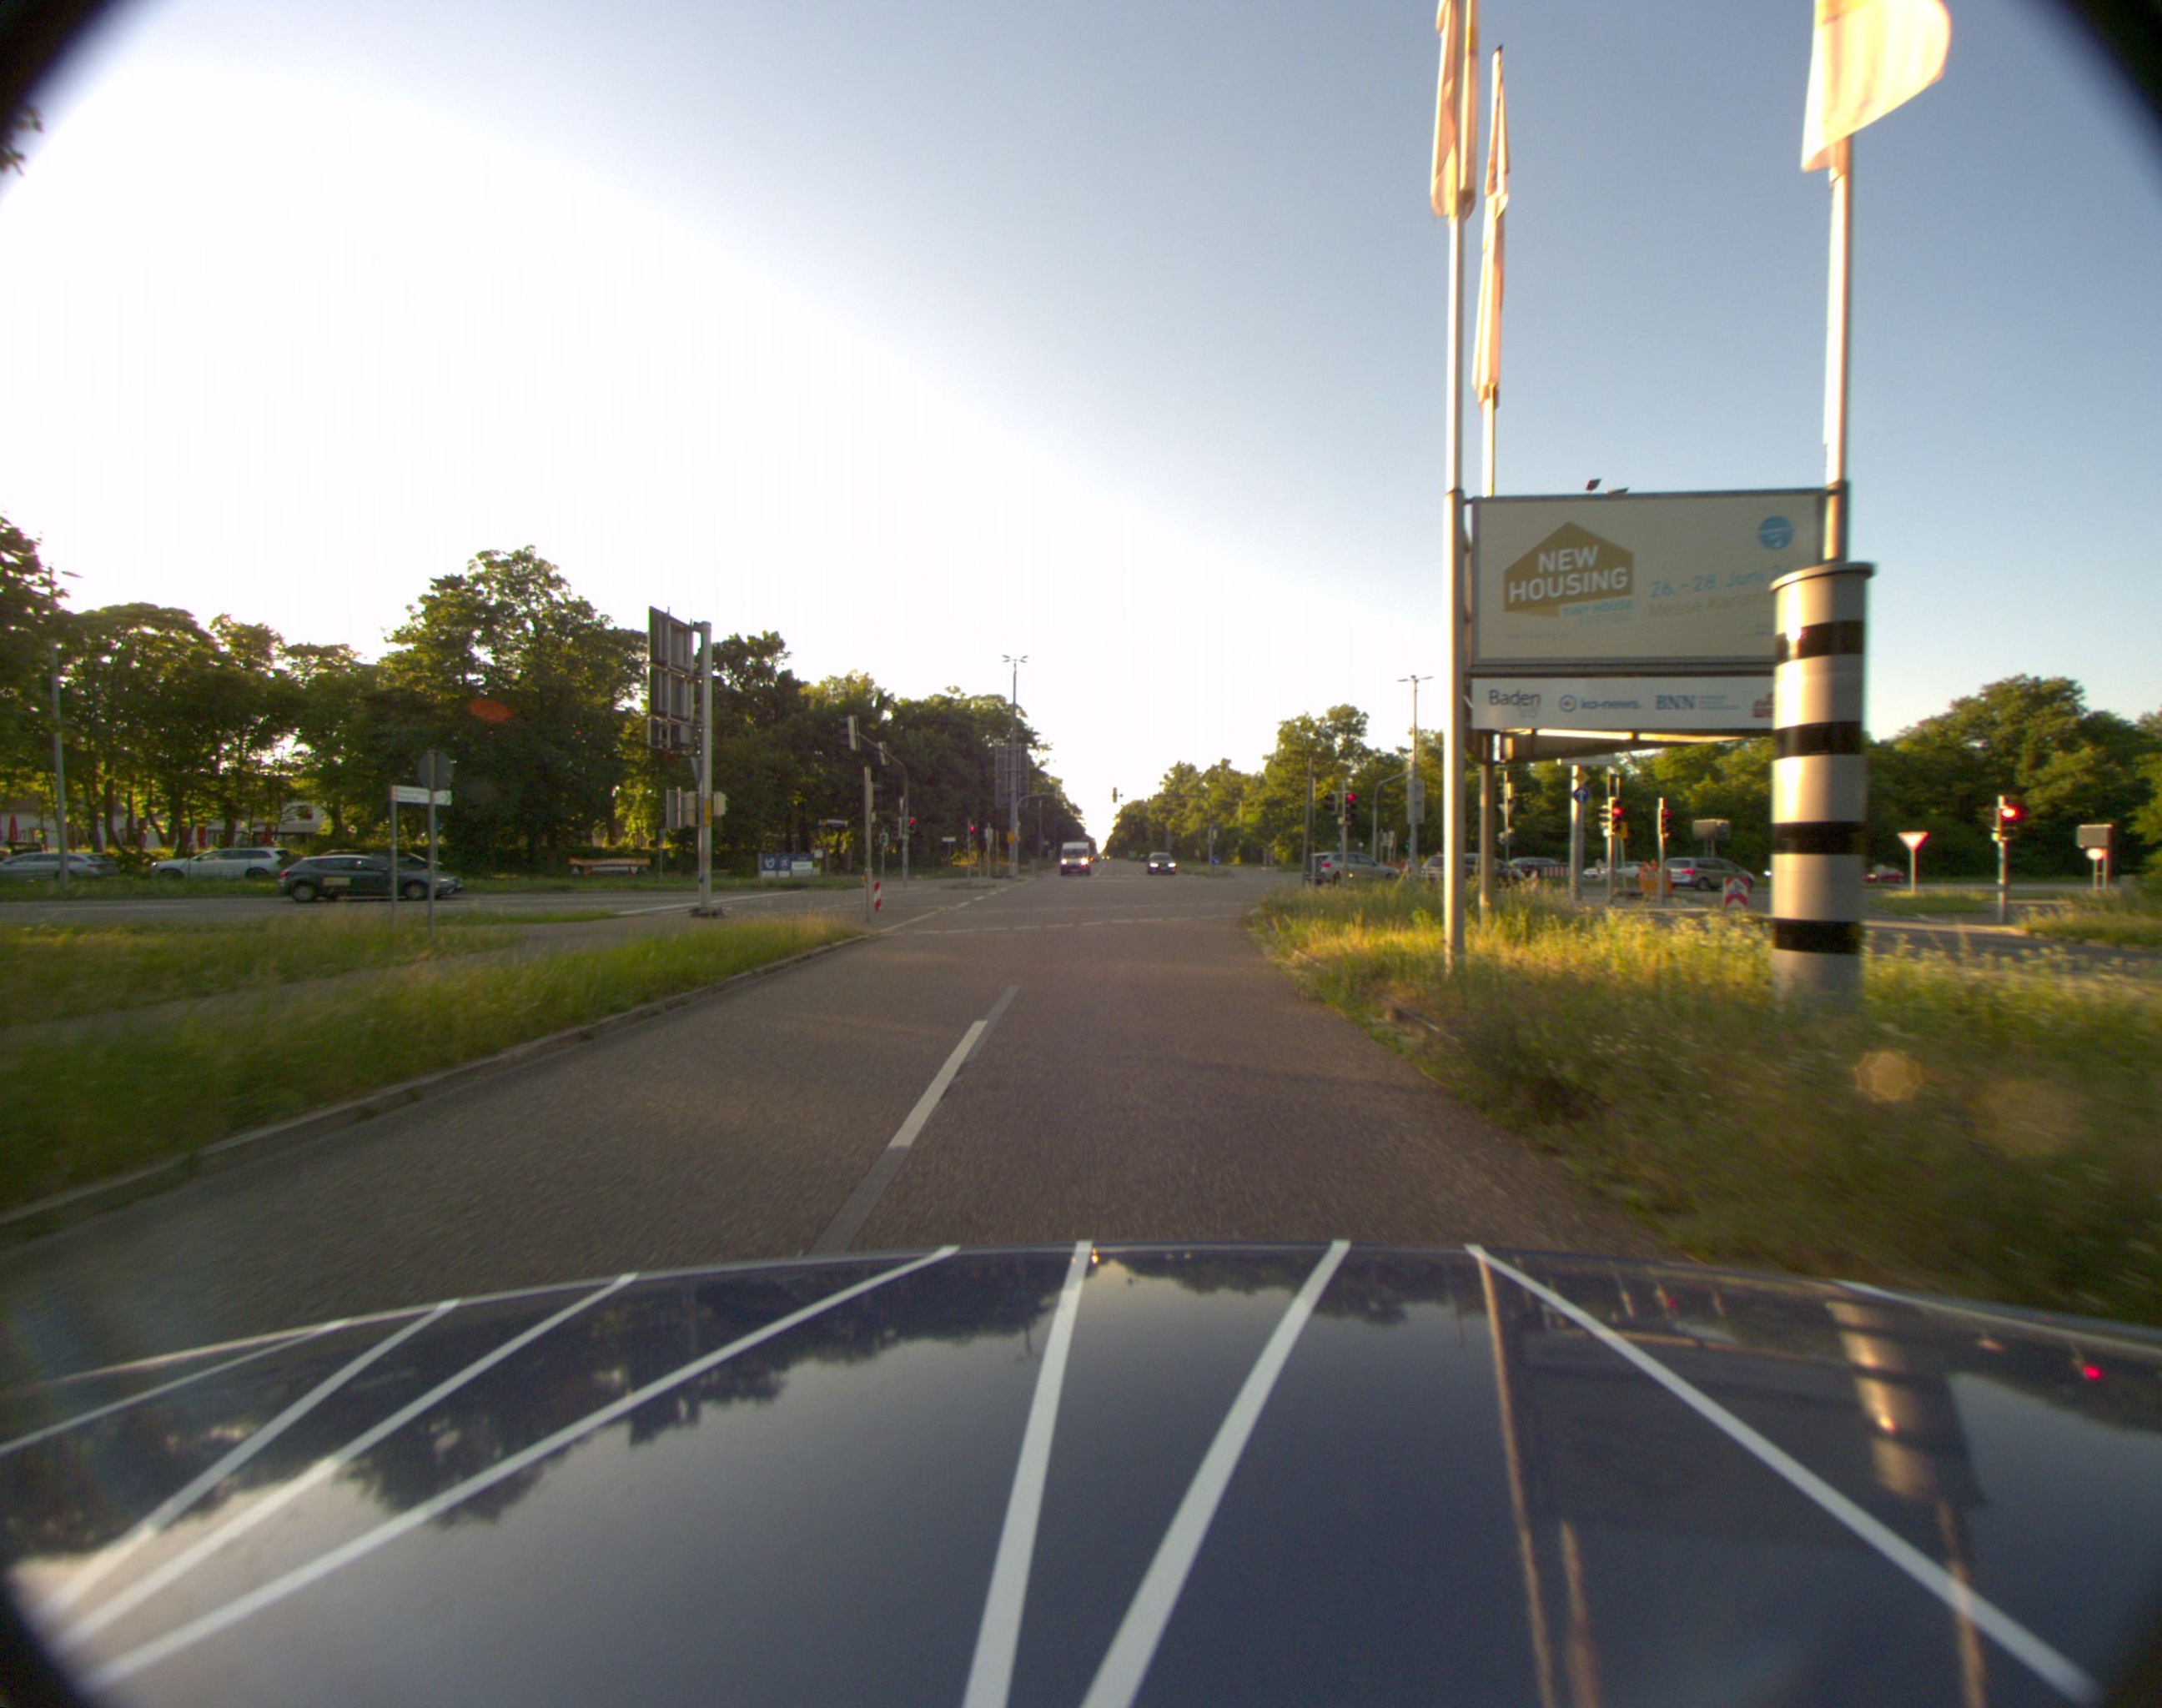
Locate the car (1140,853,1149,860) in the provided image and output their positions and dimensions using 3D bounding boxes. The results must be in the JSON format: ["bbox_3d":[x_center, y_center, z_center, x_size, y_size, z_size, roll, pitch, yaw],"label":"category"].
[{"bbox_3d":[14.015,0.539,167.758,1.663,1.320,4.045,0,2,-1],"label":"car"}]

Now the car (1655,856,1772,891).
[{"bbox_3d":[32.890,0.989,39.569,4.658,1.715,1.871,0,1,-4],"label":"car"}]

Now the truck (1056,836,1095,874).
[{"bbox_3d":[-0.316,0.062,55.840,2.603,2.542,6.023,-3,0,1],"label":"truck"}]

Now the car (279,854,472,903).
[{"bbox_3d":[-22.335,0.738,24.267,4.080,1.397,1.868,0,2,-22],"label":"car"}]

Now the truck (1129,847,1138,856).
[{"bbox_3d":[13.174,-0.569,189.792,1.999,2.109,3.999,0,1,0],"label":"truck"}]

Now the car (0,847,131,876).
[{"bbox_3d":[-48.392,0.318,35.879,4.005,1.324,1.861,0,1,-26],"label":"car"}]

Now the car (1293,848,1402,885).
[{"bbox_3d":[12.116,0.527,34.574,4.400,1.615,1.997,0,0,-19],"label":"car"}]

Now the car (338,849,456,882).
[{"bbox_3d":[-36.893,0.612,41.156,4.557,1.648,1.860,1,0,-36],"label":"car"}]

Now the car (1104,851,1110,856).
[{"bbox_3d":[8.251,-0.111,239.103,1.846,1.587,4.207,0,2,1],"label":"car"}]

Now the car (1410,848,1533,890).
[{"bbox_3d":[16.935,0.671,32.954,4.827,1.652,2.008,1,2,-21],"label":"car"}]

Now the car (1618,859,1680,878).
[{"bbox_3d":[45.319,1.148,60.615,4.235,1.447,1.719,0,1,-15],"label":"car"}]

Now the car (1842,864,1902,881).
[{"bbox_3d":[69.692,1.614,66.939,4.236,1.413,1.881,0,1,-16],"label":"car"}]

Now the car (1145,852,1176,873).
[{"bbox_3d":[5.928,0.604,56.841,2.001,1.511,4.000,0,1,1],"label":"car"}]

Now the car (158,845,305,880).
[{"bbox_3d":[-42.848,0.398,38.473,4.554,1.648,1.861,0,1,-26],"label":"car"}]

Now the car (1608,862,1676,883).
[{"bbox_3d":[40.697,1.311,55.124,4.236,1.447,1.719,0,1,-15],"label":"car"}]

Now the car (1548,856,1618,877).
[{"bbox_3d":[35.556,0.885,53.821,4.235,1.447,1.719,0,1,-15],"label":"car"}]

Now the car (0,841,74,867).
[{"bbox_3d":[-57.620,-0.001,40.376,4.554,1.398,1.861,0,1,-26],"label":"car"}]
